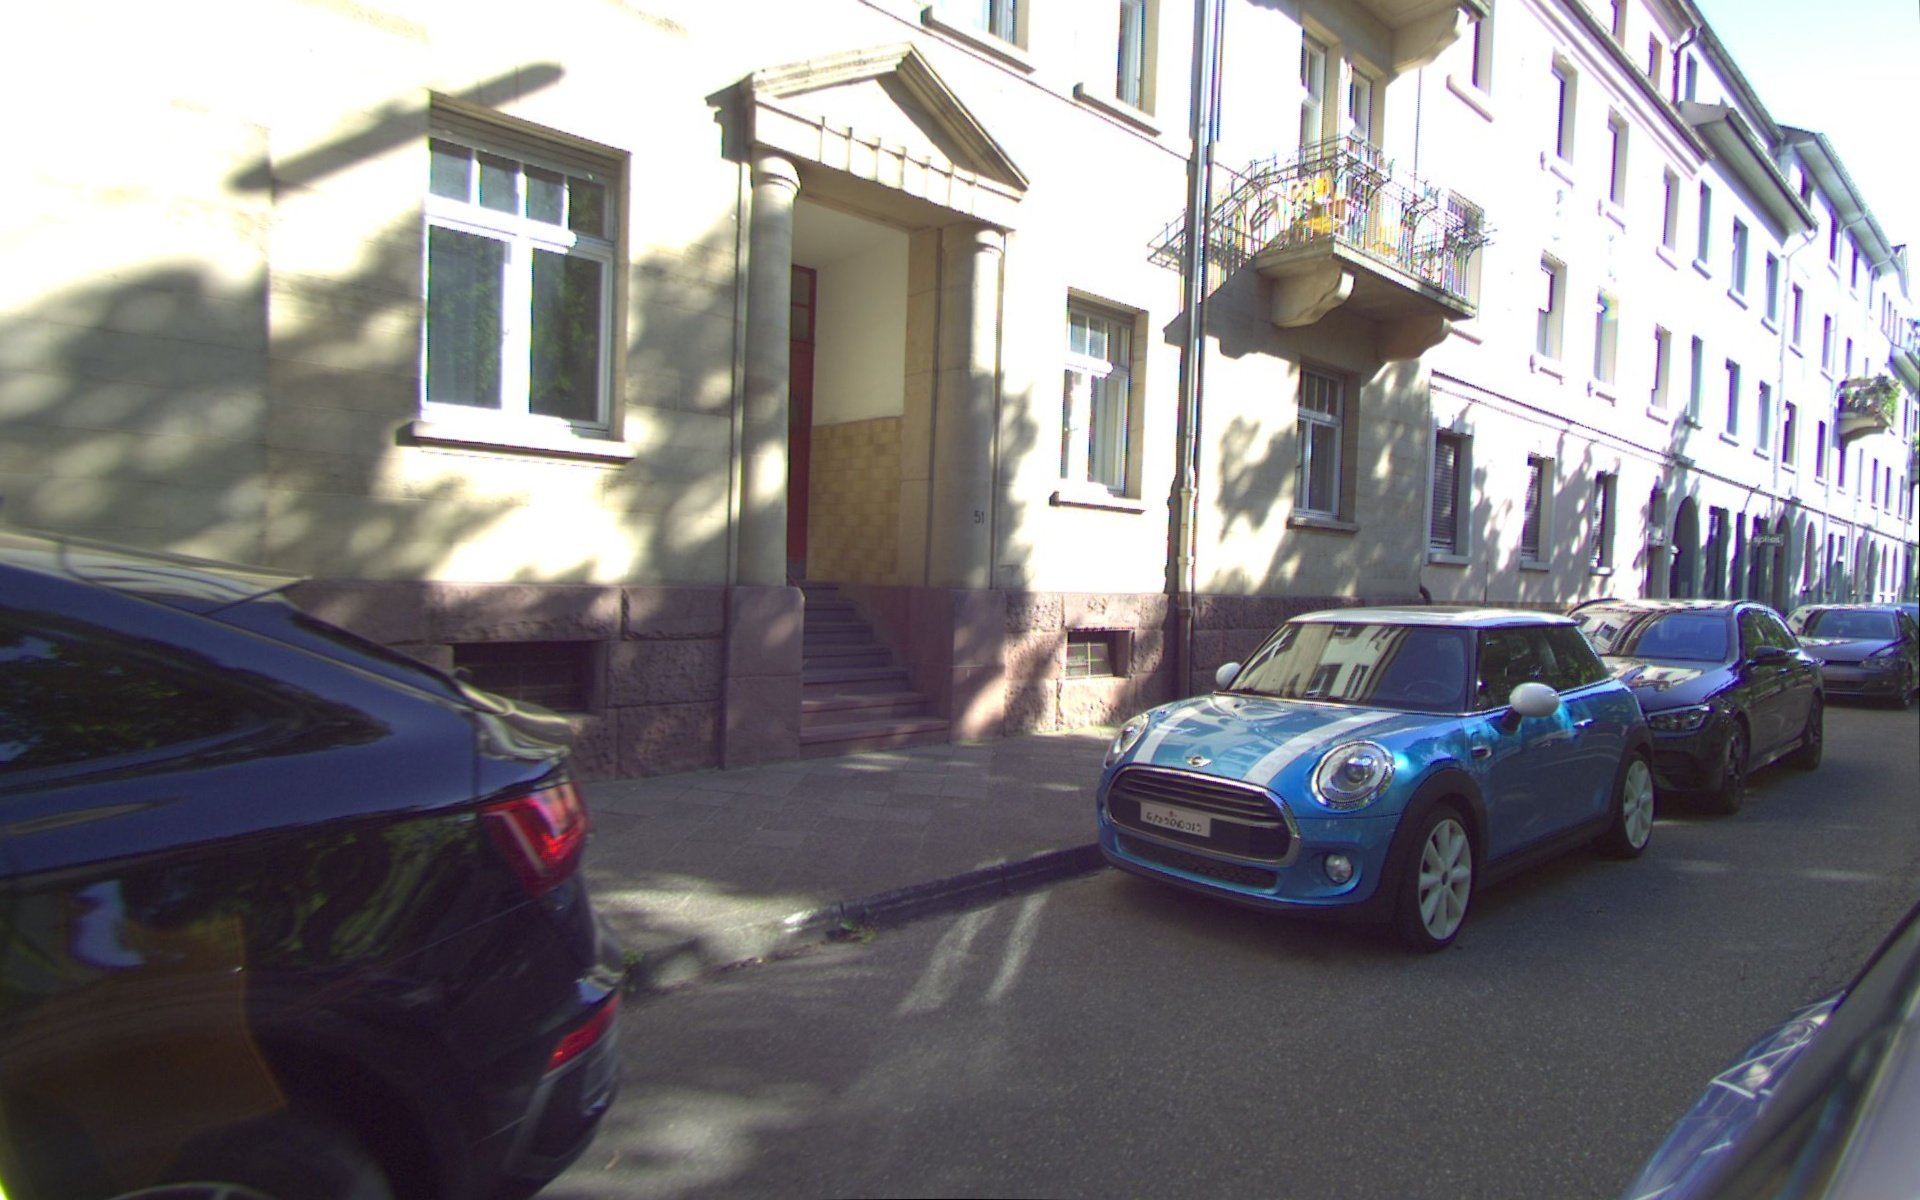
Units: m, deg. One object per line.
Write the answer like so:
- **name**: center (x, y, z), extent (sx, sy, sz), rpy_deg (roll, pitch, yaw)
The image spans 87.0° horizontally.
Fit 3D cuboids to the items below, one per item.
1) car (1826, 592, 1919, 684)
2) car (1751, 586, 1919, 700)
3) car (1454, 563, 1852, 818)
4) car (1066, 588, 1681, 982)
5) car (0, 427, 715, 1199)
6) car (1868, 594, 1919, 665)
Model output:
- **car**: center (17.737, 0.653, 18.949), extent (4.111, 1.571, 1.770), rpy_deg (0, 1, -42)
- **car**: center (13.512, 0.561, 15.302), extent (3.934, 1.486, 1.695), rpy_deg (0, 1, -41)
- **car**: center (6.050, 0.568, 8.628), extent (4.246, 1.582, 1.808), rpy_deg (0, 3, -42)
- **car**: center (2.398, 0.675, 5.481), extent (3.567, 1.433, 1.593), rpy_deg (0, 1, -40)
- **car**: center (-2.725, 0.592, 1.162), extent (4.416, 1.664, 1.866), rpy_deg (0, 1, -43)
- **car**: center (21.737, 0.636, 22.477), extent (4.215, 1.449, 1.773), rpy_deg (0, 2, -41)
